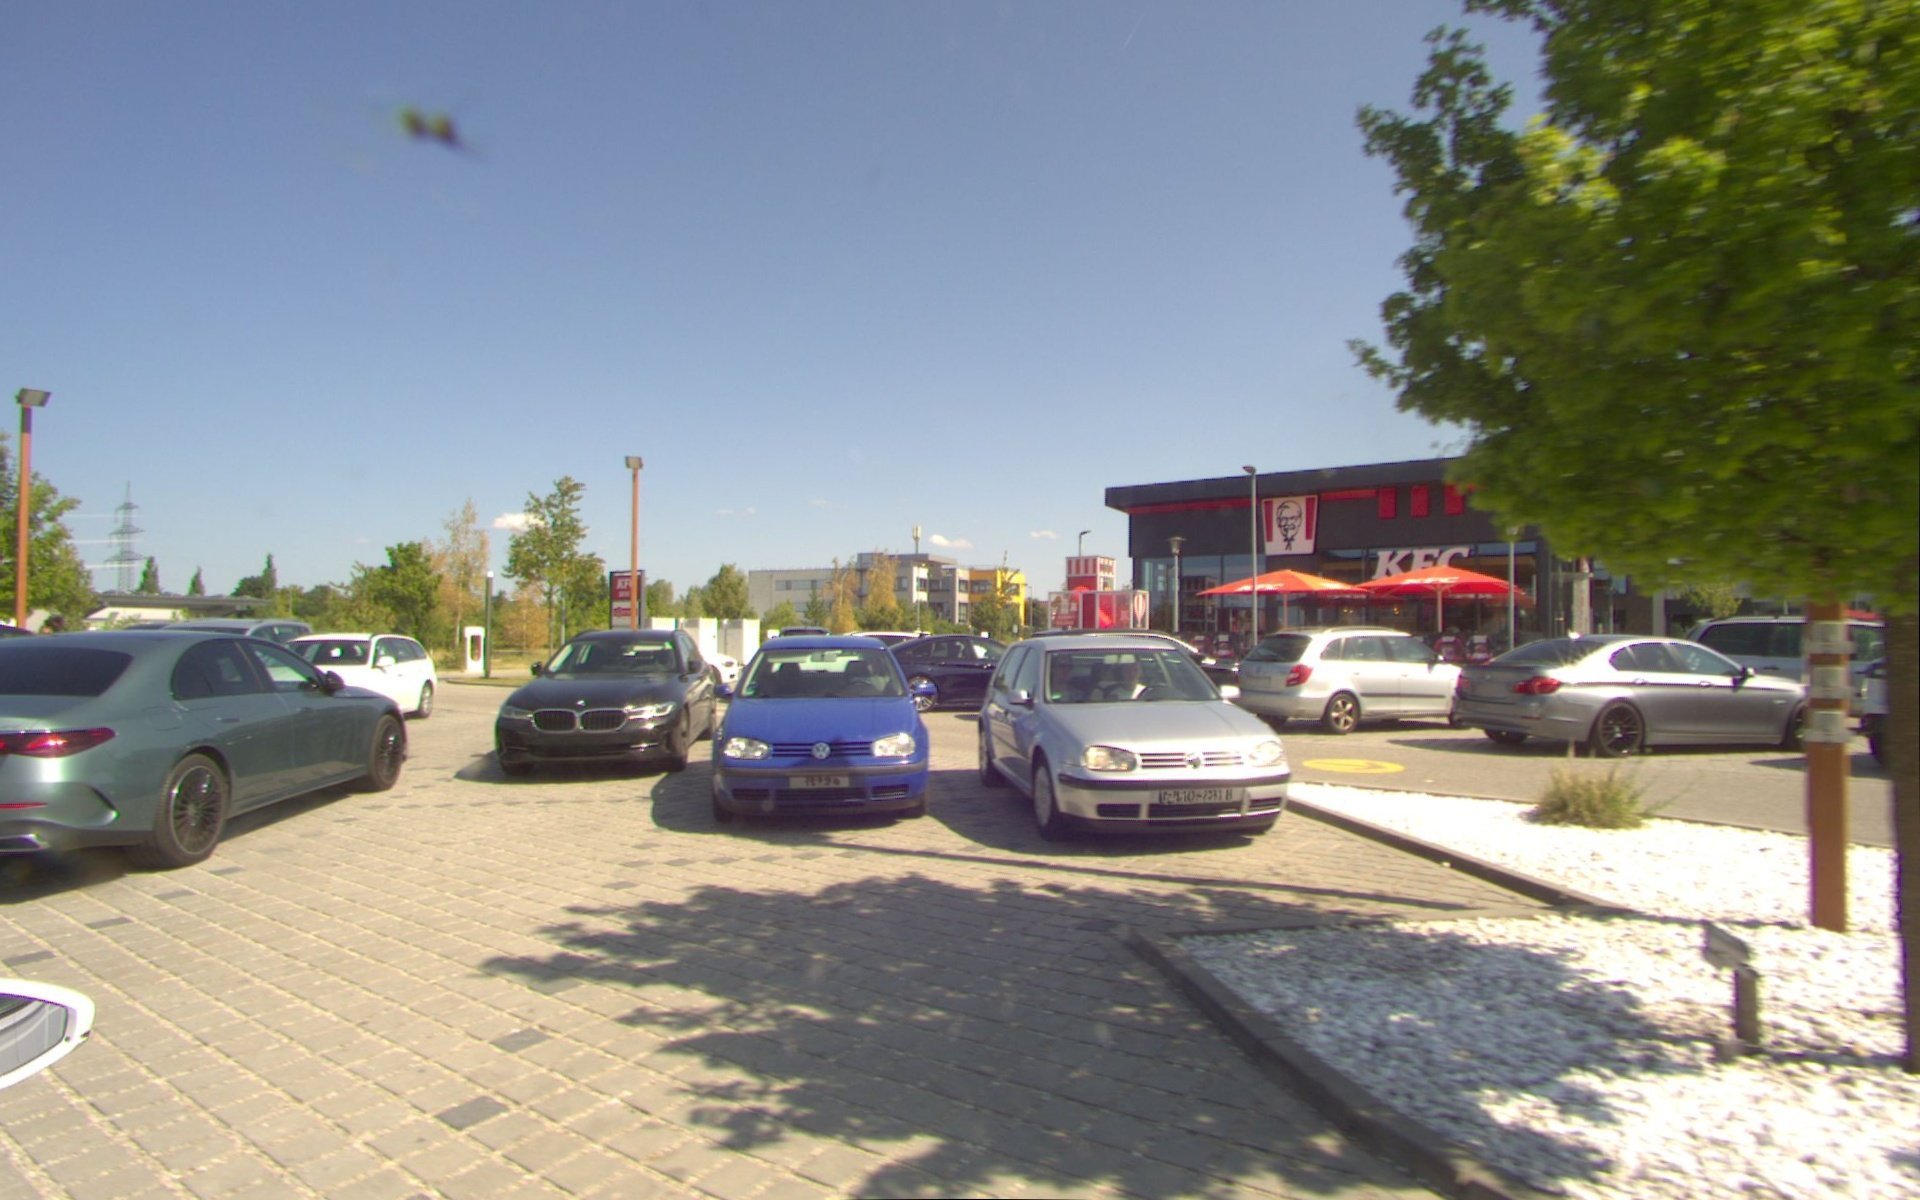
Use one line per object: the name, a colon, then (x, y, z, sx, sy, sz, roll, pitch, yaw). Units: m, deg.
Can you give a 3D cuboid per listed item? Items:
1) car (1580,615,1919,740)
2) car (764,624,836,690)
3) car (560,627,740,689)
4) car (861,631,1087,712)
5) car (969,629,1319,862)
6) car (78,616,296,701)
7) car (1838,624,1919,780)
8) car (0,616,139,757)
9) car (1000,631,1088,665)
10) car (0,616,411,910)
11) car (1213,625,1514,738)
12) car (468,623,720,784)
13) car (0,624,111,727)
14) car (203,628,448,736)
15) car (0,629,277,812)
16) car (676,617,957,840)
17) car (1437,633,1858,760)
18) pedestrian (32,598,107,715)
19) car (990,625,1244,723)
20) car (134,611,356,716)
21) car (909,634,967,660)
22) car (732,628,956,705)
car: (12.650, 1.166, 16.198, 4.311, 1.772, 2.060, -1, -2, 37)
car: (-4.225, 1.486, 26.592, 1.724, 1.596, 4.086, 1, -2, -9)
car: (-7.574, 1.430, 24.827, 4.110, 1.443, 1.842, 1, -2, -14)
car: (0.212, 1.311, 18.823, 3.927, 1.421, 1.819, 1, -2, -14)
car: (1.206, 0.977, 8.280, 1.674, 1.444, 3.903, 1, -2, -8)
car: (-15.670, 1.134, 20.613, 1.861, 1.556, 4.188, 1, -1, -11)
car: (11.620, 1.063, 10.604, 3.986, 1.576, 1.803, 1, -2, -20)
car: (-12.013, 1.000, 11.931, 1.778, 1.613, 3.998, 1, -2, -12)
car: (4.335, 2.484, 52.046, 4.326, 1.707, 1.632, -1, -2, 35)
car: (-5.933, 0.925, 7.365, 1.851, 1.530, 4.542, 1, -2, -9)
car: (6.159, 1.184, 15.281, 4.282, 1.530, 1.774, 1, -2, -23)
car: (-4.024, 1.077, 11.827, 1.946, 1.530, 4.417, 1, -2, -9)
car: (-14.675, 1.080, 14.146, 1.800, 1.465, 4.662, 1, -1, -7)
car: (-9.562, 1.163, 15.514, 1.760, 1.426, 4.080, 1, -2, -10)
car: (-8.813, 1.028, 9.810, 1.794, 1.467, 4.076, 1, -2, -7)
car: (-1.322, 0.983, 9.246, 1.946, 1.530, 4.417, 1, -2, -9)
car: (8.634, 1.163, 12.686, 4.595, 1.428, 1.711, 1, -2, -12)
pedestrian: (-13.517, 0.848, 15.209, 0.599, 1.735, 0.563, 1, -1, -2)
car: (2.507, 1.204, 16.678, 3.922, 1.508, 1.822, 0, -2, -1)
car: (-12.702, 1.084, 18.137, 1.715, 1.661, 4.065, 1, -2, -11)
car: (-1.371, 3.013, 64.236, 1.923, 1.588, 3.982, -1, -2, 31)
car: (-2.444, 1.357, 20.790, 4.391, 1.490, 1.912, 1, -2, -15)
